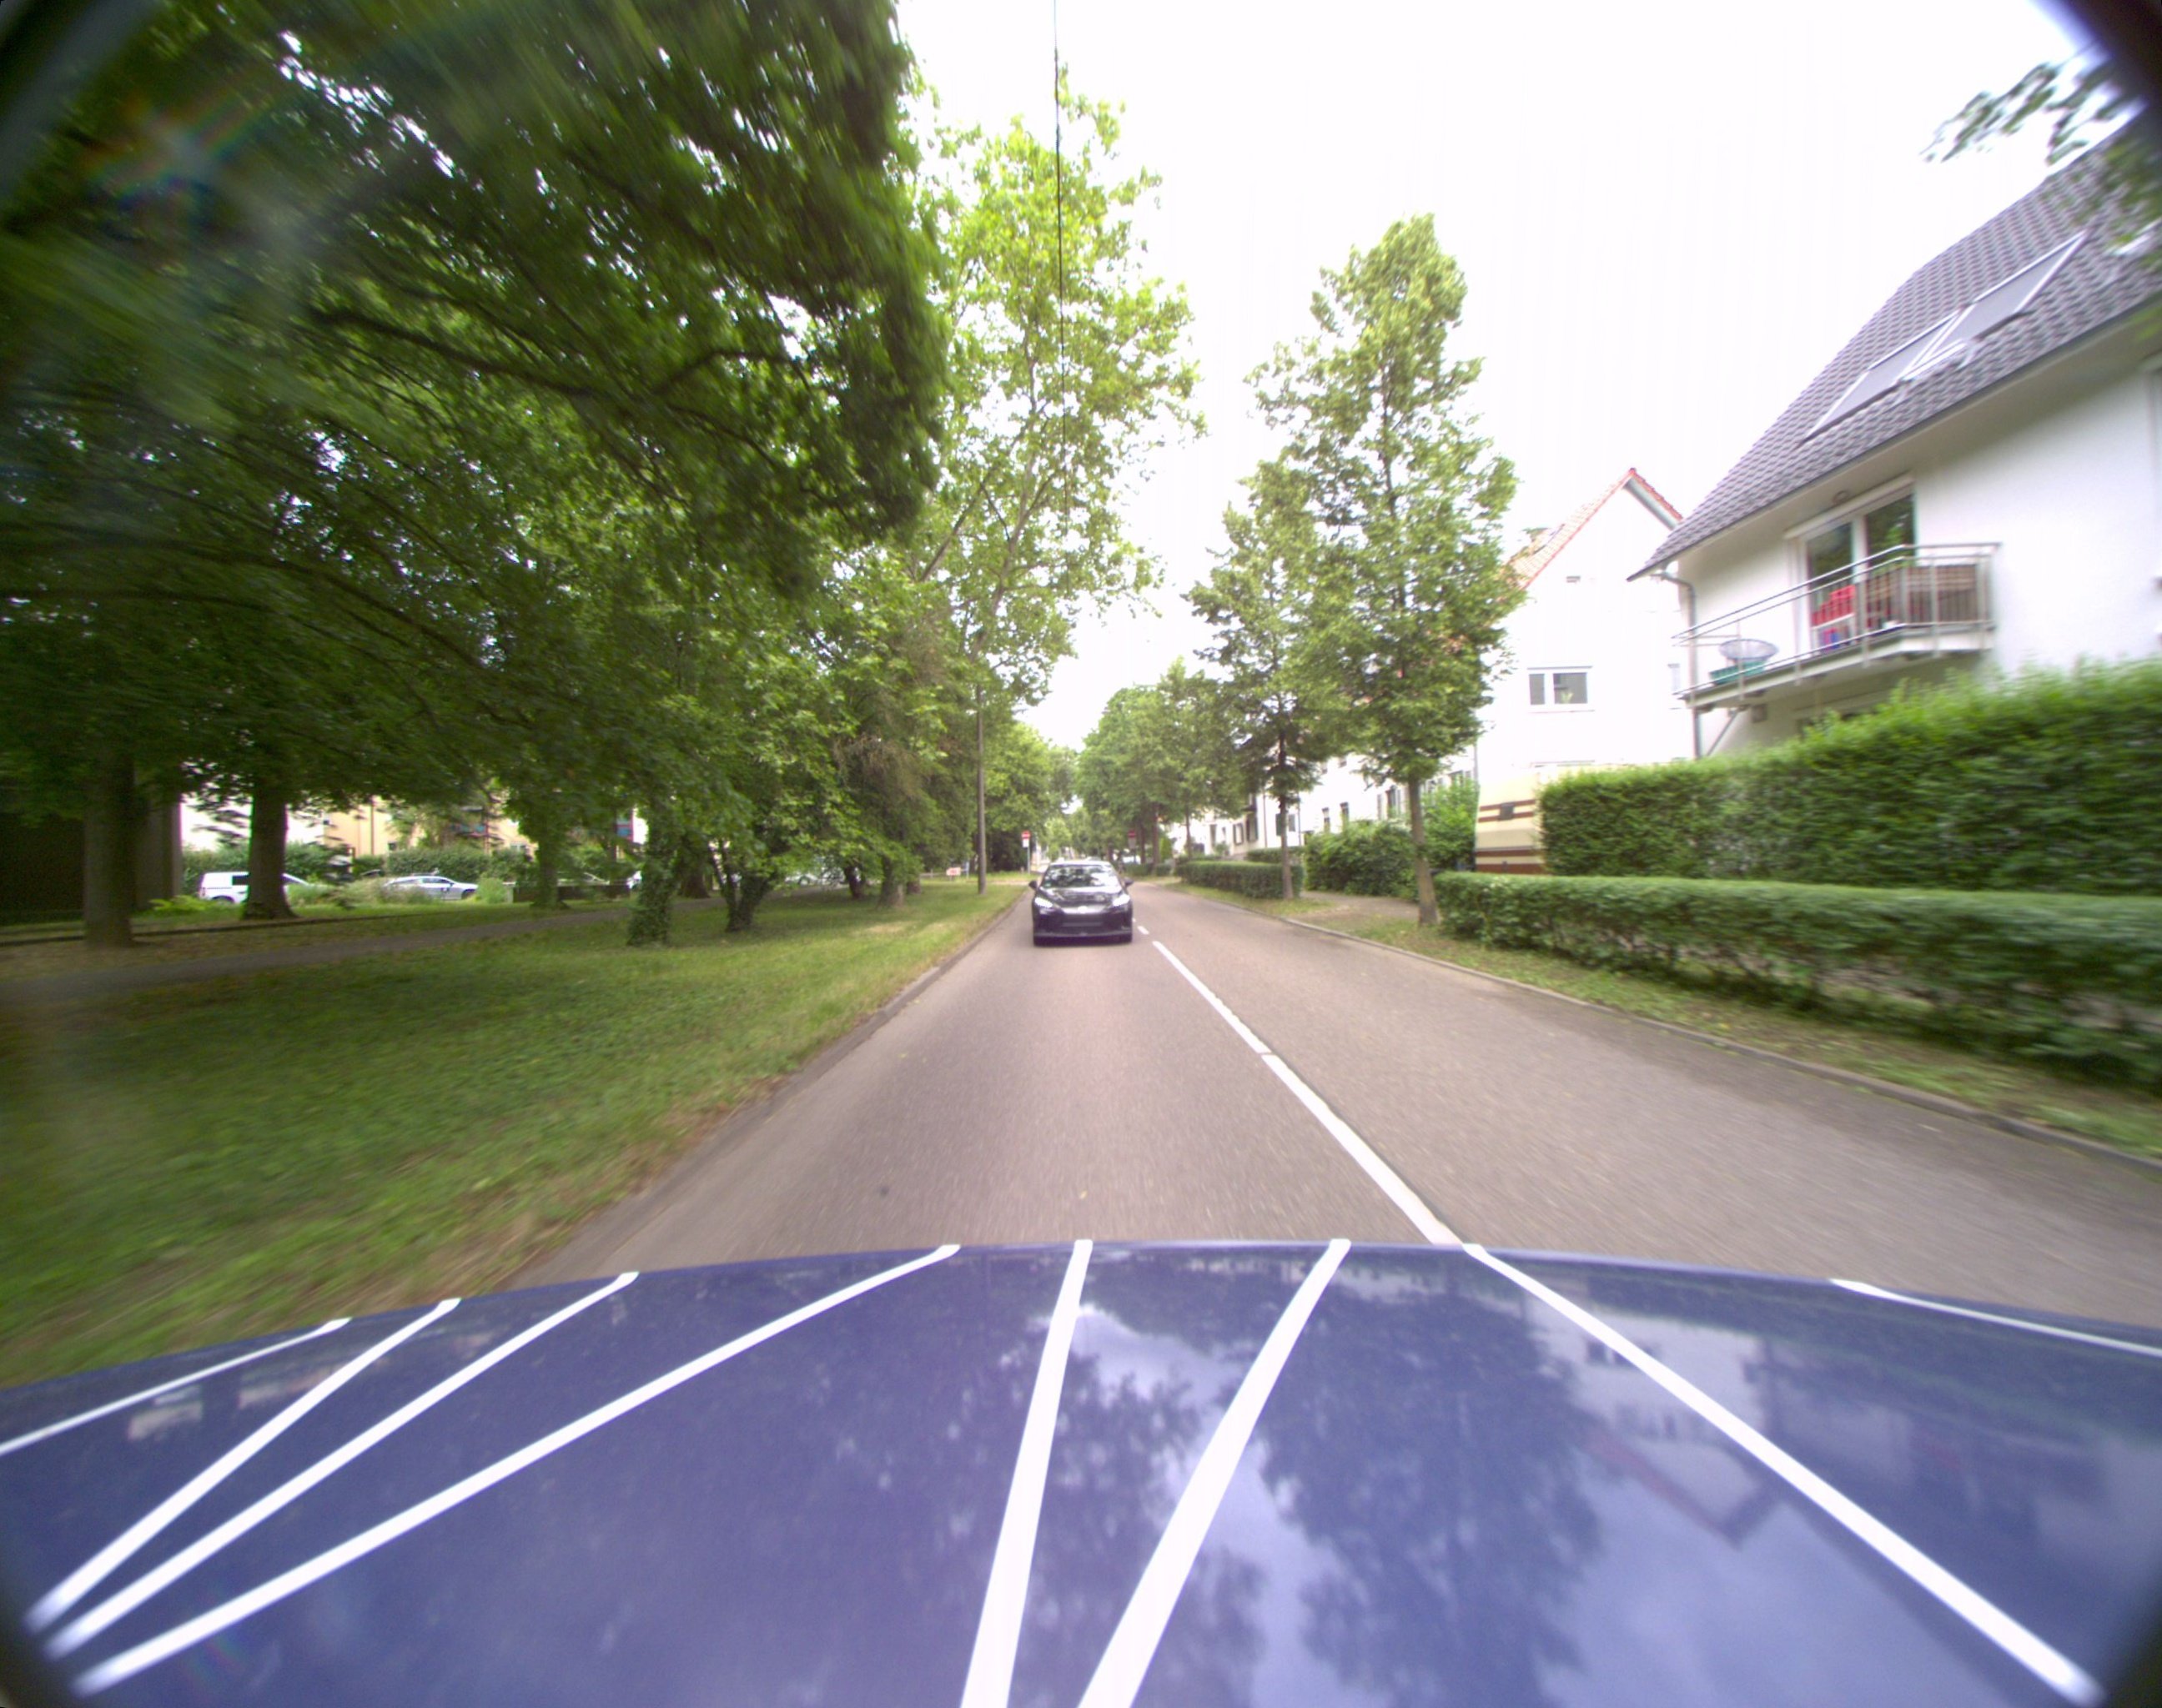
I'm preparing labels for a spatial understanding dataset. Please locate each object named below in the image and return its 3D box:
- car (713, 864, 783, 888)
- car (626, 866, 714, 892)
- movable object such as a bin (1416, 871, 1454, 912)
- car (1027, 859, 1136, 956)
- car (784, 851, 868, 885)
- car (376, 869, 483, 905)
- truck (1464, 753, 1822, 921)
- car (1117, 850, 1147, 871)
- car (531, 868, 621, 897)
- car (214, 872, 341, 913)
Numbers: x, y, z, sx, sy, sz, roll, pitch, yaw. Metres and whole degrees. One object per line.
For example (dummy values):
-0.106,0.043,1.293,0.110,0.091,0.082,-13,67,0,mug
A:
-22.738,1.491,51.952,4.008,1.501,1.795,-1,-1,-41,car
-26.153,1.572,48.468,1.795,1.501,4.613,-2,-1,44,car
8.286,0.863,17.821,0.581,0.921,0.693,-1,0,1,movable object such as a bin
0.030,0.930,15.238,1.799,1.552,4.471,-3,0,0,car
-18.559,0.997,55.337,5.335,2.285,2.287,-2,0,-34,car
-33.985,1.691,39.710,1.795,1.664,4.008,-2,-1,42,car
11.802,-0.348,16.323,5.811,3.112,2.517,-2,0,-2,truck
4.409,0.570,66.443,1.830,1.743,4.451,-2,0,-5,car
-29.697,1.656,44.769,1.795,1.501,4.008,-2,-1,41,car
-37.656,1.779,35.699,1.795,1.664,4.008,-2,-1,42,car
